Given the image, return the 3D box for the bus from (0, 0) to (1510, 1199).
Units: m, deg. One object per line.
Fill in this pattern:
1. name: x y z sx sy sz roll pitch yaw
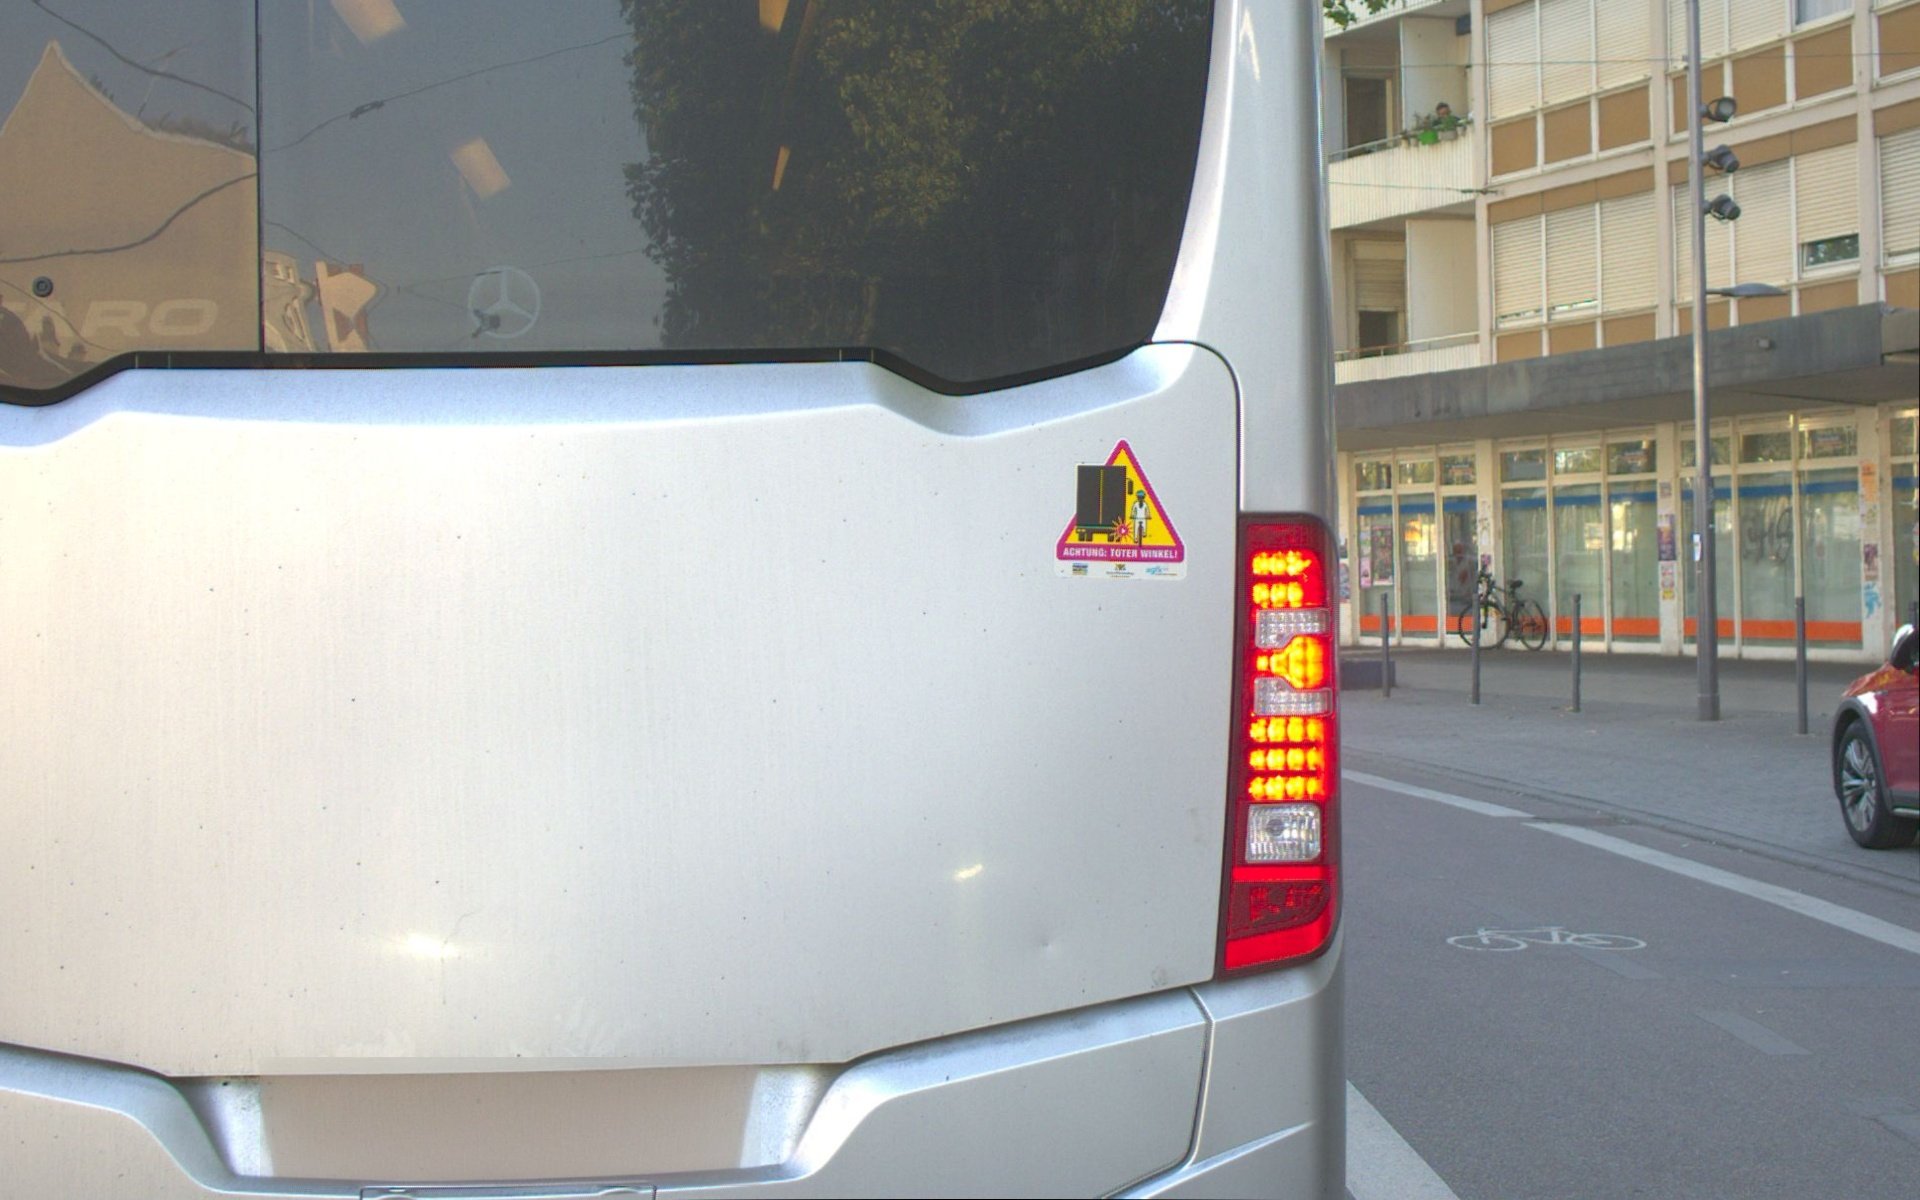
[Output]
1. bus: -0.744 -0.143 9.810 2.630 3.017 9.998 0 1 -2

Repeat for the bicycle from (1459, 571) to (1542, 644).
1. bicycle: 7.167 0.094 45.603 0.412 0.941 1.441 -1 1 -20

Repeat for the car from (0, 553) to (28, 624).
1. car: -25.668 -0.312 87.894 1.994 1.785 3.998 1 0 -41

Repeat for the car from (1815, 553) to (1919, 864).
1. car: 5.530 0.506 15.857 1.769 1.477 4.304 -2 1 -4
